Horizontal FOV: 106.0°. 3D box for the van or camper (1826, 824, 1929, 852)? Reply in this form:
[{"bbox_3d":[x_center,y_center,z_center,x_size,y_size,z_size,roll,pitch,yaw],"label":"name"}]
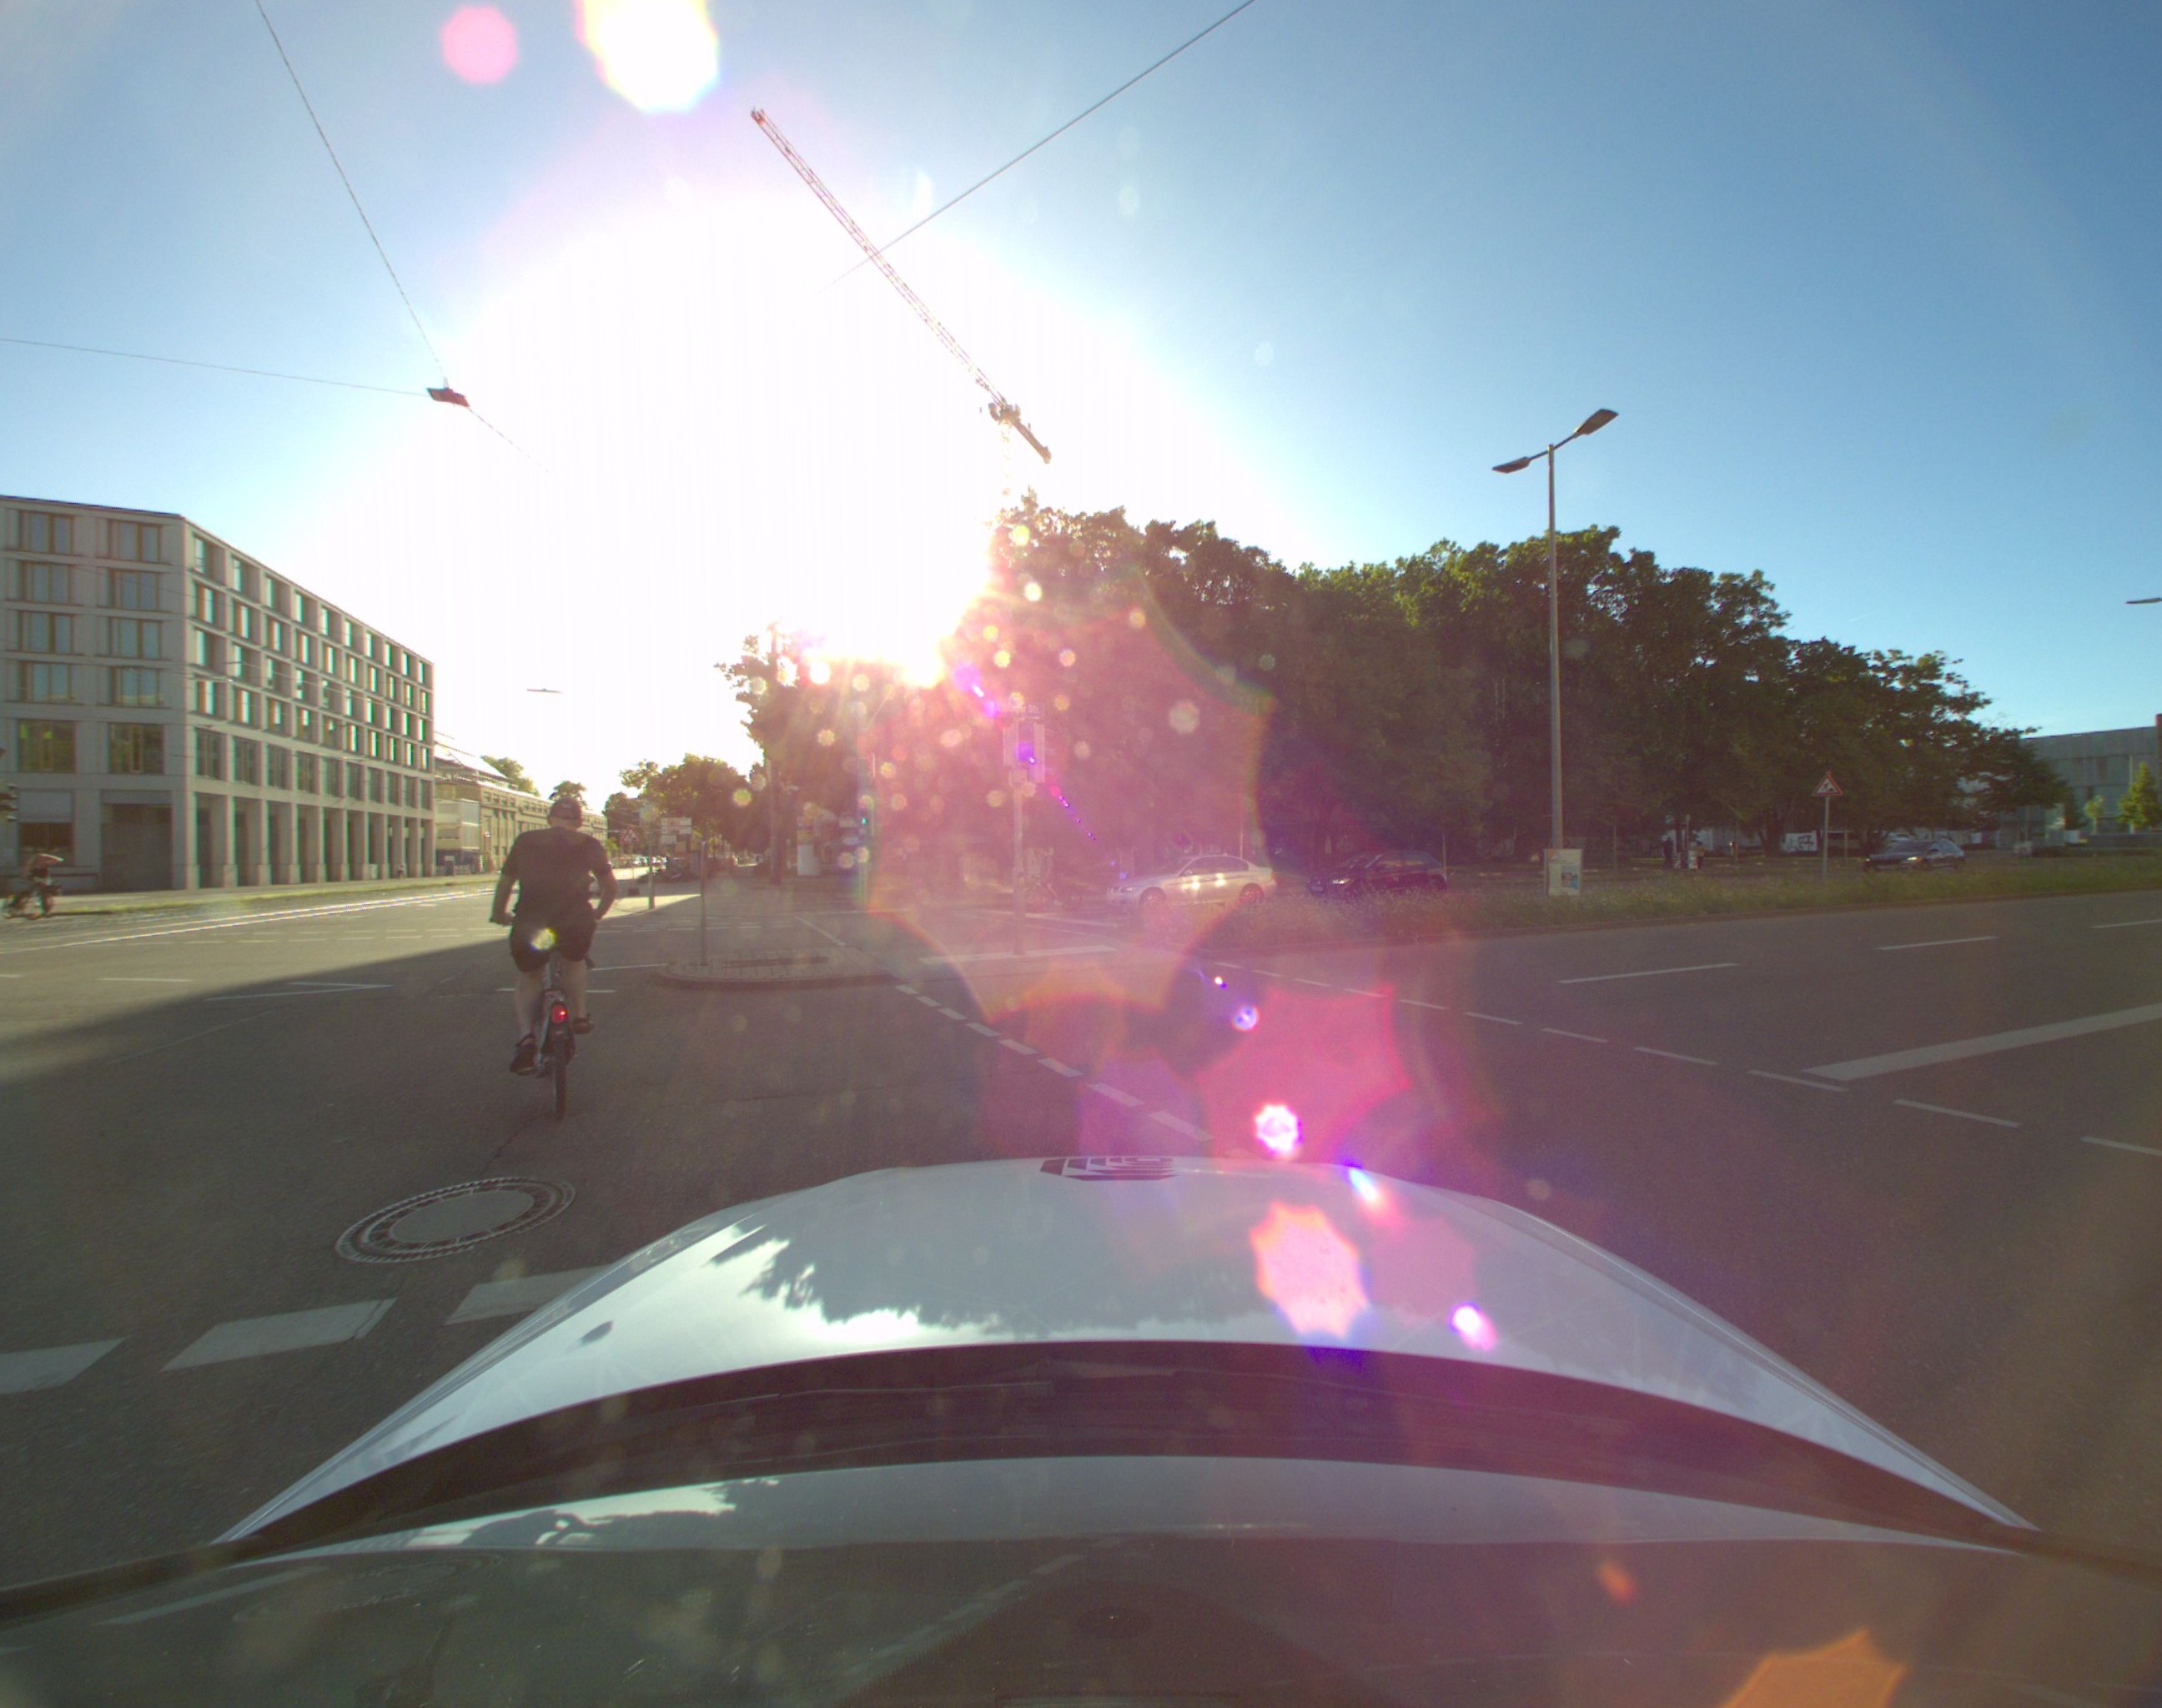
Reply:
[{"bbox_3d":[65.493,-1.270,67.095,2.257,2.014,5.645,1,-1,-19],"label":"van or camper"}]

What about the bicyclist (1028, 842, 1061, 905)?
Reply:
[{"bbox_3d":[-1.006,0.536,22.479,0.835,1.679,0.782,-1,-1,-6],"label":"bicyclist"}]

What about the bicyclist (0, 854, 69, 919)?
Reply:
[{"bbox_3d":[-26.684,0.810,20.667,0.964,1.619,0.854,-1,0,9],"label":"bicyclist"}]

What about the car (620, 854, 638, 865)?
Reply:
[{"bbox_3d":[-70.589,0.922,127.210,2.002,1.640,3.969,-1,0,-23],"label":"car"}]

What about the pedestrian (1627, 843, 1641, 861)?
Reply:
[{"bbox_3d":[52.849,-0.190,77.823,0.743,1.641,0.722,-1,0,-15],"label":"pedestrian"}]

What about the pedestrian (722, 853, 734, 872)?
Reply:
[{"bbox_3d":[-32.707,0.814,75.503,0.788,1.740,0.884,-1,0,-40],"label":"pedestrian"}]

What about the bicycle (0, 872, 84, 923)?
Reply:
[{"bbox_3d":[-26.719,1.099,20.674,1.996,1.231,0.848,-1,0,8],"label":"bicycle"}]

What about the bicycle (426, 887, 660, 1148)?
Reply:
[{"bbox_3d":[-3.257,0.861,5.165,0.778,1.240,2.007,1,-1,-20],"label":"bicycle"}]

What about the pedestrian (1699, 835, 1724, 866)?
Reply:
[{"bbox_3d":[33.815,-0.176,43.699,0.725,1.641,0.740,-1,0,-17],"label":"pedestrian"}]

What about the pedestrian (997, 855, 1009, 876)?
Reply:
[{"bbox_3d":[-4.927,0.712,51.559,0.599,1.340,0.729,-1,0,-18],"label":"pedestrian"}]

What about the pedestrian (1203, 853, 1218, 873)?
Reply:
[{"bbox_3d":[9.137,0.621,57.366,0.664,1.340,0.903,-1,0,-18],"label":"pedestrian"}]

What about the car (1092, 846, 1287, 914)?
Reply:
[{"bbox_3d":[2.781,0.657,20.968,4.551,1.561,1.986,-1,-3,-21],"label":"car"}]

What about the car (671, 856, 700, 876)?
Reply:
[{"bbox_3d":[-29.692,0.871,61.208,1.705,1.428,3.969,-1,0,-23],"label":"car"}]

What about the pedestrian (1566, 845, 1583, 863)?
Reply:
[{"bbox_3d":[42.700,-0.022,70.456,0.897,1.540,0.897,-1,0,-28],"label":"pedestrian"}]

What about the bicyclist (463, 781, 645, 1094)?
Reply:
[{"bbox_3d":[-3.225,0.472,5.079,0.755,1.743,0.833,1,-1,-21],"label":"bicyclist"}]

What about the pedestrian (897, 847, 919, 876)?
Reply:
[{"bbox_3d":[-10.444,0.440,49.201,1.209,1.740,0.893,-1,0,-5],"label":"pedestrian"}]

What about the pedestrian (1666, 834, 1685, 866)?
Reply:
[{"bbox_3d":[33.057,-0.227,45.287,0.654,1.740,0.523,-1,0,-17],"label":"pedestrian"}]

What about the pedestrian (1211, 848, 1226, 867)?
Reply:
[{"bbox_3d":[9.739,0.238,57.574,0.716,1.340,0.824,-1,0,-18],"label":"pedestrian"}]

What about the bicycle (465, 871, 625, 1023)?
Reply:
[{"bbox_3d":[-5.109,0.794,7.941,0.778,1.240,2.296,1,-1,-20],"label":"bicycle"}]

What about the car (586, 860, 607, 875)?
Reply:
[{"bbox_3d":[-66.736,1.840,112.182,2.002,1.969,3.969,-1,0,-23],"label":"car"}]

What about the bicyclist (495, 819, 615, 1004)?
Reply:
[{"bbox_3d":[-5.134,0.536,8.010,0.776,1.691,0.919,1,-2,-21],"label":"bicyclist"}]

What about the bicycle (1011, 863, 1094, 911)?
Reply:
[{"bbox_3d":[-0.799,0.899,22.498,2.239,1.240,0.776,-1,-1,-6],"label":"bicycle"}]

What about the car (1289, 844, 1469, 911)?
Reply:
[{"bbox_3d":[8.311,0.601,22.754,4.550,1.675,1.986,-1,0,-21],"label":"car"}]

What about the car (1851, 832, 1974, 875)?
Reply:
[{"bbox_3d":[33.276,-0.032,32.602,4.062,1.564,1.986,-1,0,-21],"label":"car"}]

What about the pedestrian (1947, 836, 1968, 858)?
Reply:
[{"bbox_3d":[61.661,-0.472,57.307,0.941,1.527,0.611,-2,0,-16],"label":"pedestrian"}]

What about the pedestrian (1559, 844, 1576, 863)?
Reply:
[{"bbox_3d":[41.819,-0.034,70.038,0.897,1.540,0.897,-1,0,-28],"label":"pedestrian"}]

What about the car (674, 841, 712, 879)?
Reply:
[{"bbox_3d":[-31.902,0.476,67.107,2.603,2.952,5.050,-1,0,-23],"label":"car"}]

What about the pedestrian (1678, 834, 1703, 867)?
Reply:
[{"bbox_3d":[33.157,-0.198,44.336,0.760,1.740,0.769,-1,0,-17],"label":"pedestrian"}]

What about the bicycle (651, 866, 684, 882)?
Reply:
[{"bbox_3d":[-23.675,1.132,46.634,1.610,0.889,0.763,-1,0,-29],"label":"bicycle"}]
